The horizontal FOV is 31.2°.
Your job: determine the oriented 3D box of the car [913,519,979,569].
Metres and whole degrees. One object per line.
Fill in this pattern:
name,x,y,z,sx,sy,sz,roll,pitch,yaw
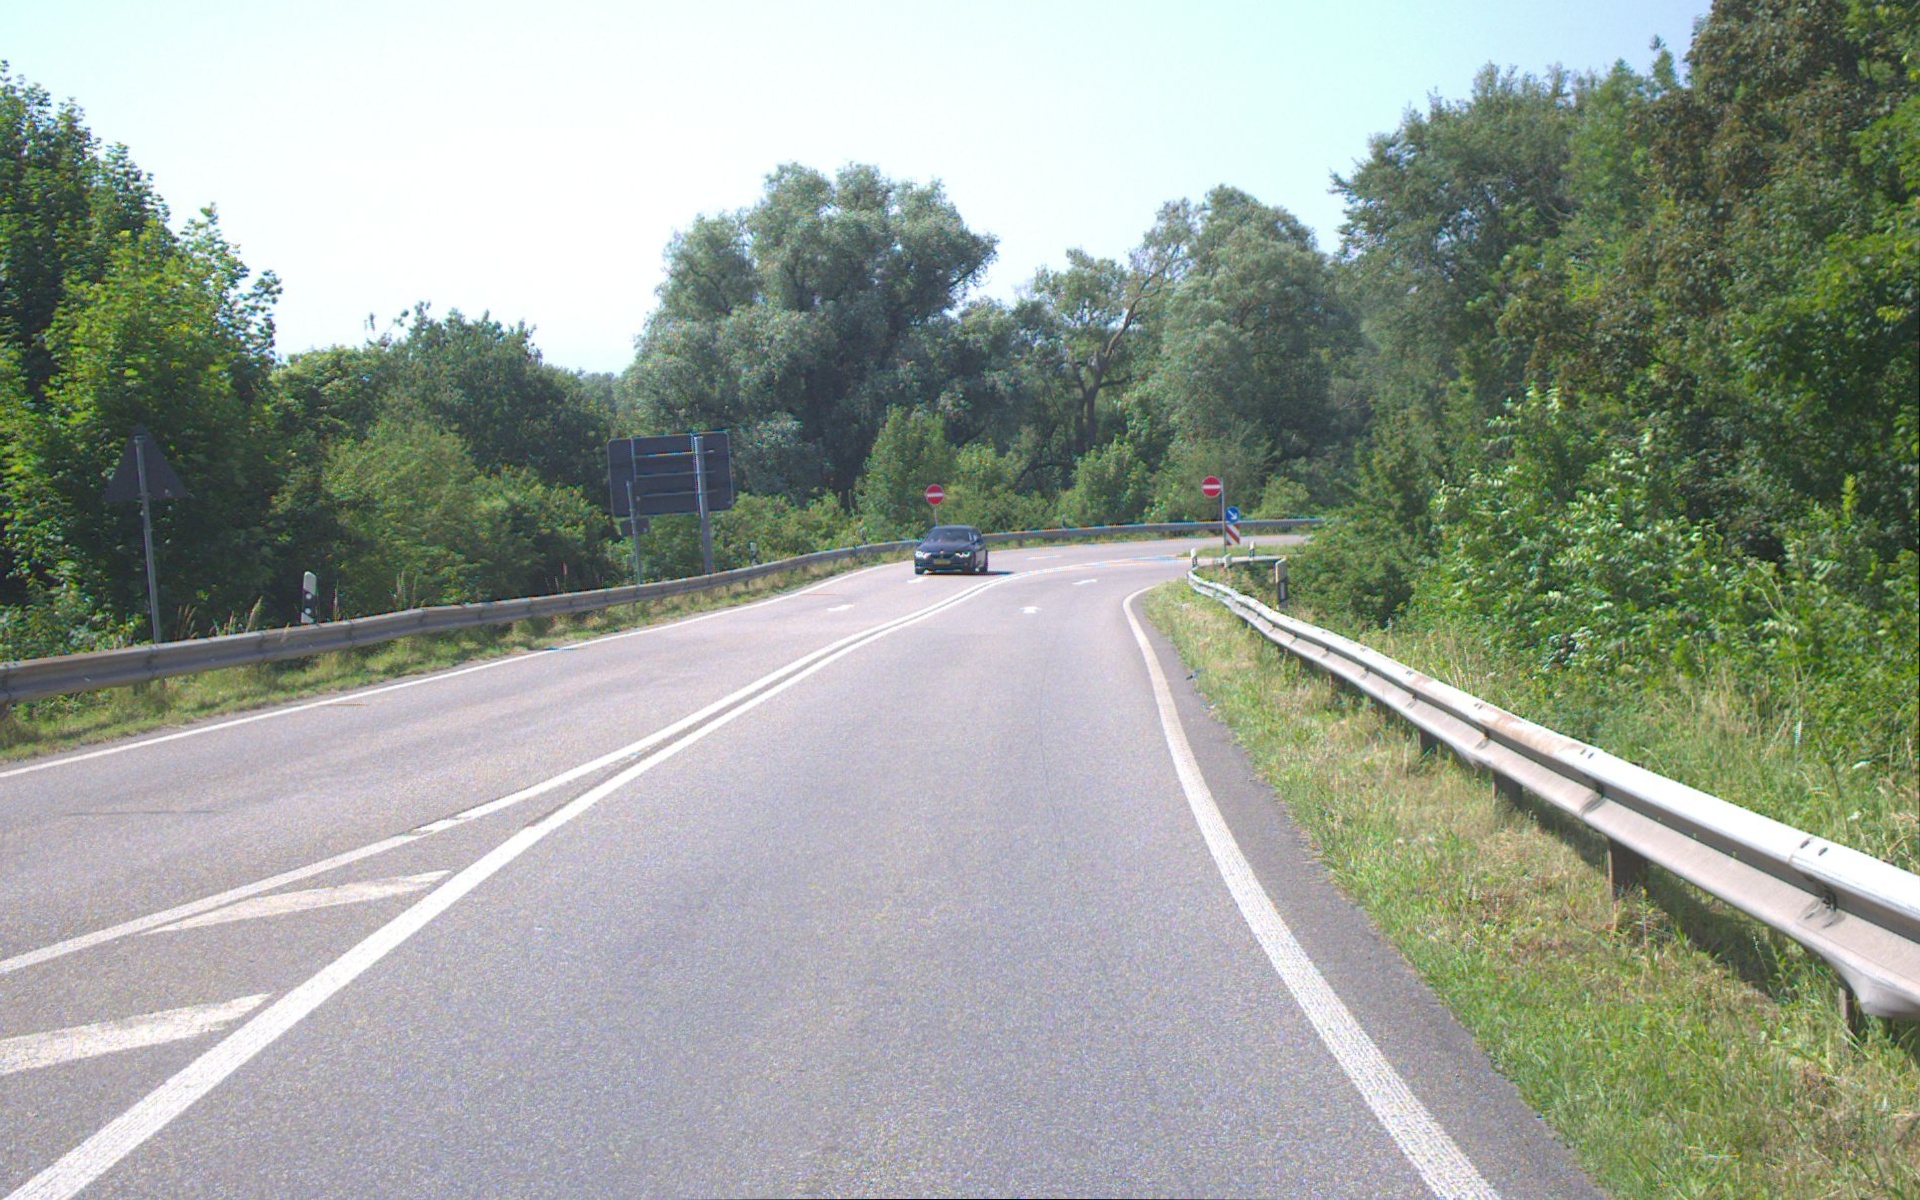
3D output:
car,-0.396,-1.676,102.997,1.608,1.468,4.219,-1,1,5
